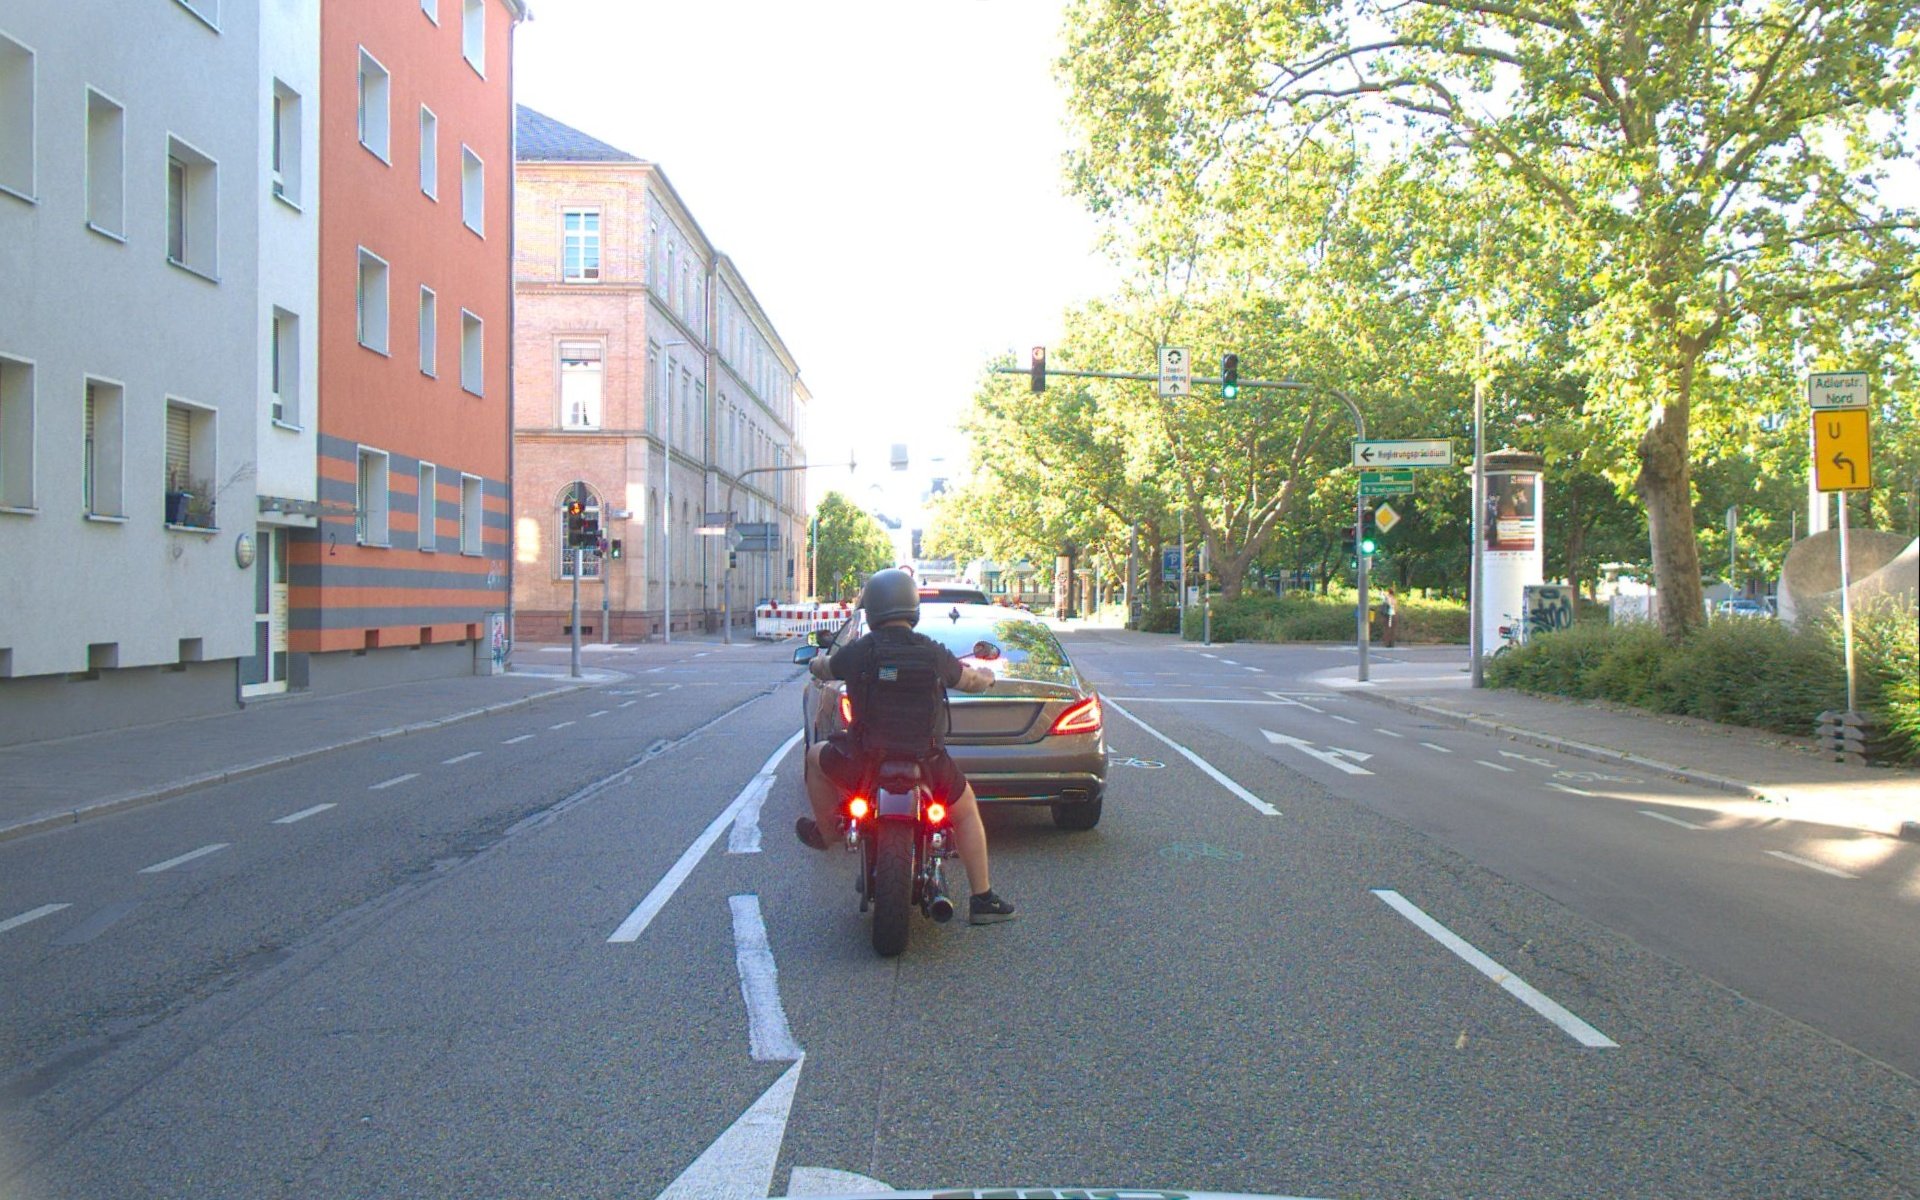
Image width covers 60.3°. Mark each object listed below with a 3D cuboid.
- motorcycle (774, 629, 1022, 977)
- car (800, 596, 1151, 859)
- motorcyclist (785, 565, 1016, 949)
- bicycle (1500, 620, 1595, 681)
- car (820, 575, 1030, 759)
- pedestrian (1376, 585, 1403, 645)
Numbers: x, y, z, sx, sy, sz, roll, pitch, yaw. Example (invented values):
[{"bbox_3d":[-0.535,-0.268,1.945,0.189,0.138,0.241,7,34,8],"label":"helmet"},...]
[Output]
[{"bbox_3d":[-0.259,0.811,7.634,0.961,1.297,2.407,0,0,-1],"label":"motorcycle"},{"bbox_3d":[-0.106,0.714,11.624,1.834,1.469,4.422,0,0,-8],"label":"car"},{"bbox_3d":[-0.257,0.656,7.551,0.961,1.606,1.248,0,0,-1],"label":"motorcyclist"},{"bbox_3d":[9.796,0.838,27.600,1.452,0.997,0.299,1,-1,5],"label":"bicycle"},{"bbox_3d":[-0.354,0.637,17.544,1.953,1.695,3.999,1,0,-1],"label":"car"},{"bbox_3d":[13.177,0.453,50.733,0.664,1.803,0.616,1,-1,29],"label":"pedestrian"}]
